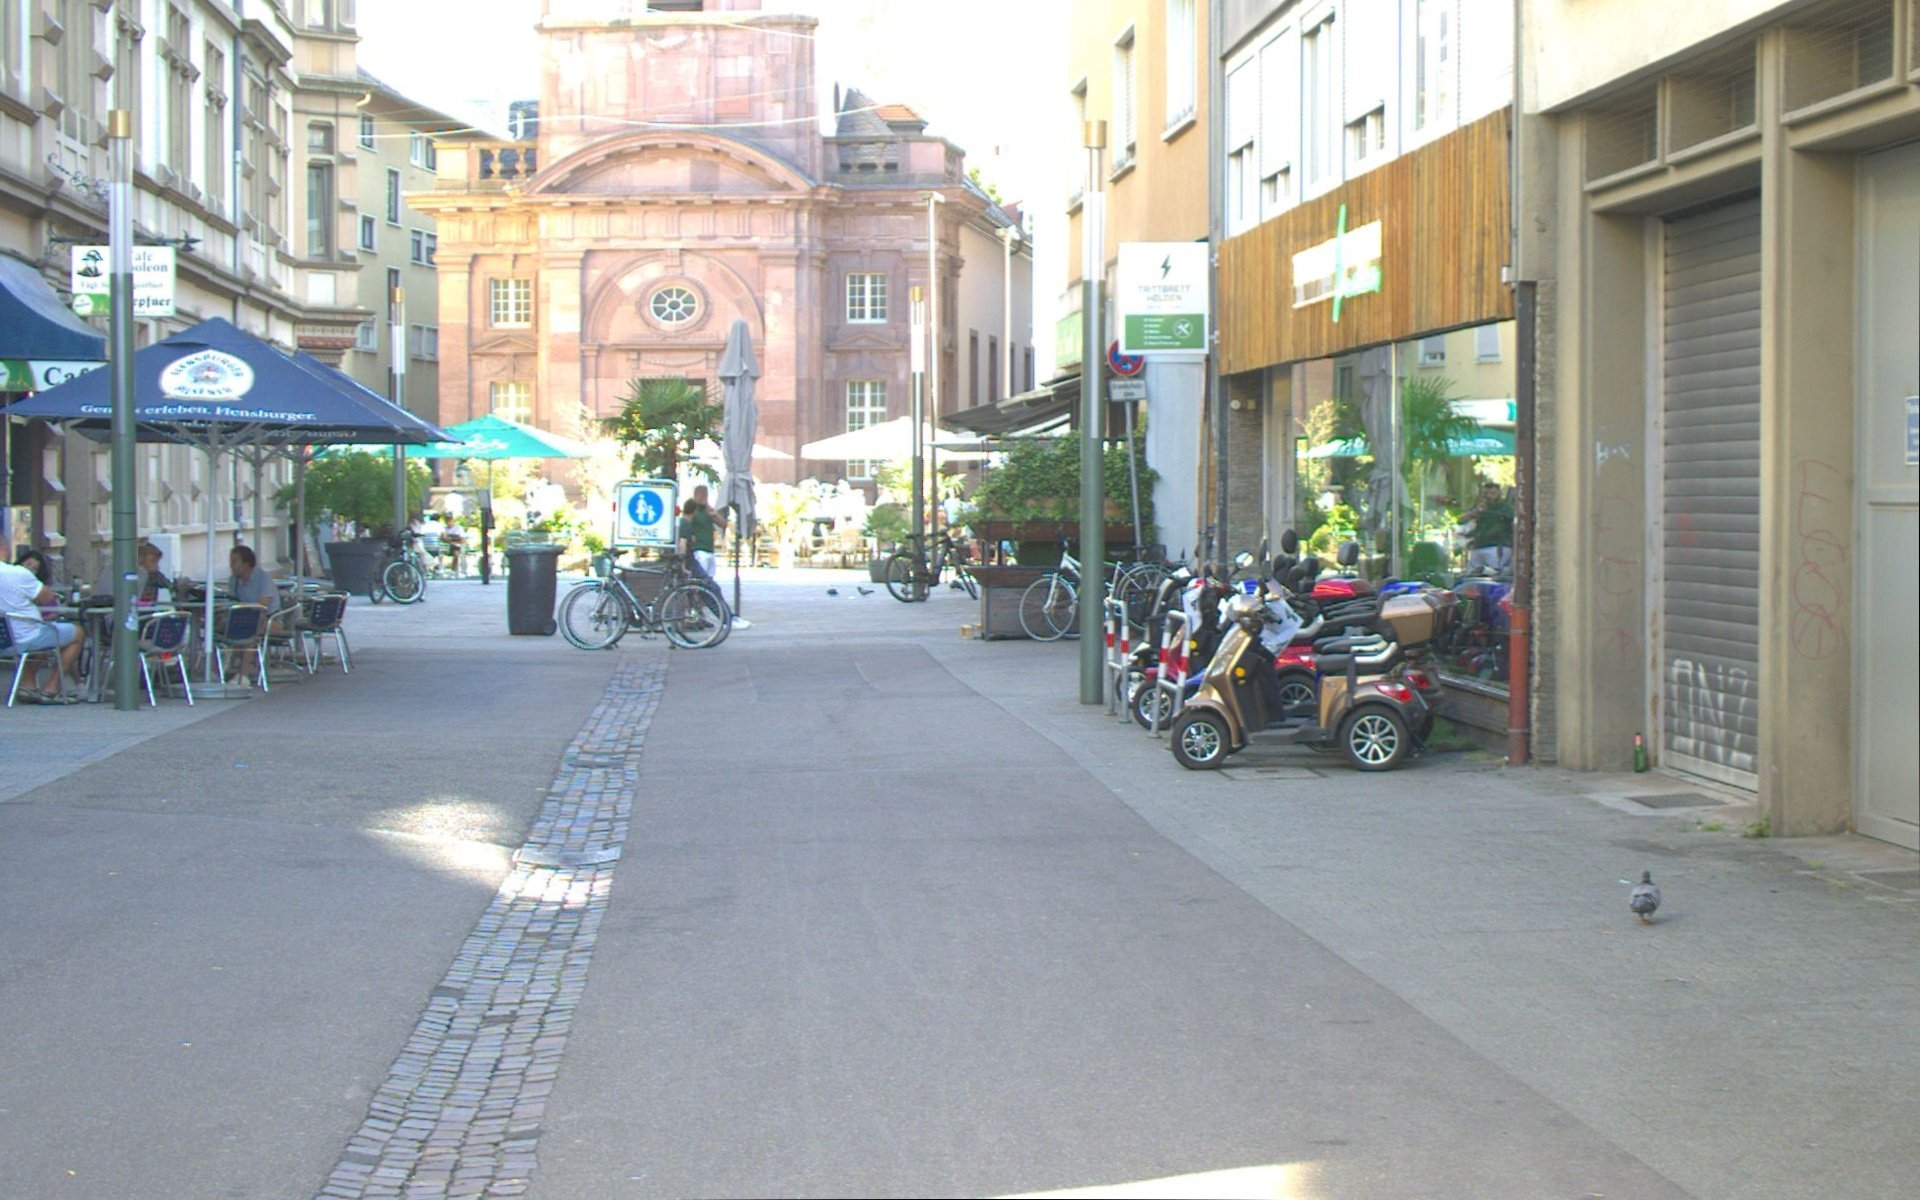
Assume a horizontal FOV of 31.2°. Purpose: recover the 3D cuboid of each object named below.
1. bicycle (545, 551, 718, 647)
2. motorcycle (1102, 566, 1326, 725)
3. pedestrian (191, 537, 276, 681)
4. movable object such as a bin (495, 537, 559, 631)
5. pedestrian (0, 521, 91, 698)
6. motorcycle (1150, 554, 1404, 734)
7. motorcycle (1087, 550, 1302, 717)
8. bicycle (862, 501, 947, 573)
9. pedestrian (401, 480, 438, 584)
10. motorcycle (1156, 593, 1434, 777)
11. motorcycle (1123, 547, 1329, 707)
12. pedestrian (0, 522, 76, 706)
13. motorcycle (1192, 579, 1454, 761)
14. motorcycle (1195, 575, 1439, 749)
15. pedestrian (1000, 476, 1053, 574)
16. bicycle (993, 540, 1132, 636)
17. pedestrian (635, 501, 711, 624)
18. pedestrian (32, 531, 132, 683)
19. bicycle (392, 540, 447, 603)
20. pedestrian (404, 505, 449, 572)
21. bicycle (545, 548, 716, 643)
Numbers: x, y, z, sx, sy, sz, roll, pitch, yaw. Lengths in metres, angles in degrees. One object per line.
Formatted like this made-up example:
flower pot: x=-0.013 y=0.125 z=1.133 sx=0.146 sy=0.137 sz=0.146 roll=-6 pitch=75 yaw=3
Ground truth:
bicycle: x=-3.501 y=-0.015 z=36.647 sx=1.823 sy=1.001 sz=0.381 roll=0 pitch=2 yaw=-7
motorcycle: x=1.746 y=0.309 z=23.657 sx=1.484 sy=1.072 sz=0.412 roll=0 pitch=1 yaw=14
pedestrian: x=-6.219 y=0.069 z=29.437 sx=0.692 sy=1.211 sz=0.583 roll=0 pitch=2 yaw=-12
movable object such as a bin: x=-5.003 y=-0.192 z=39.773 sx=0.721 sy=1.071 sz=0.374 roll=0 pitch=2 yaw=-5
pedestrian: x=-7.192 y=0.063 z=26.934 sx=0.717 sy=1.363 sz=0.710 roll=0 pitch=2 yaw=-16
motorcycle: x=2.114 y=0.284 z=22.927 sx=1.625 sy=1.171 sz=0.480 roll=0 pitch=1 yaw=14
motorcycle: x=1.676 y=0.236 z=24.548 sx=1.484 sy=1.177 sz=0.412 roll=0 pitch=1 yaw=11
bicycle: x=-1.002 y=-1.153 z=62.600 sx=1.586 sy=1.303 sz=0.366 roll=-1 pitch=2 yaw=-33
pedestrian: x=-9.417 y=-1.190 z=59.895 sx=0.615 sy=1.802 sz=0.615 roll=0 pitch=2 yaw=-8
motorcycle: x=1.944 y=0.483 z=19.943 sx=1.565 sy=1.038 sz=0.372 roll=0 pitch=1 yaw=14
motorcycle: x=1.985 y=0.197 z=25.640 sx=1.484 sy=1.177 sz=0.412 roll=0 pitch=1 yaw=11
pedestrian: x=-7.074 y=0.098 z=26.022 sx=0.707 sy=1.363 sz=0.720 roll=0 pitch=2 yaw=-16
motorcycle: x=2.189 y=0.415 z=20.722 sx=1.517 sy=1.072 sz=0.412 roll=0 pitch=1 yaw=14
motorcycle: x=2.252 y=0.382 z=21.684 sx=1.484 sy=1.072 sz=0.412 roll=0 pitch=1 yaw=14
pedestrian: x=1.114 y=-1.271 z=57.881 sx=0.657 sy=1.635 sz=0.611 roll=1 pitch=2 yaw=36
bicycle: x=1.092 y=-0.131 z=36.427 sx=1.463 sy=1.001 sz=0.573 roll=0 pitch=2 yaw=3
pedestrian: x=-3.428 y=-0.455 z=41.127 sx=0.883 sy=1.459 sz=0.731 roll=0 pitch=2 yaw=-3
pedestrian: x=-7.309 y=0.049 z=28.653 sx=0.764 sy=1.229 sz=0.831 roll=0 pitch=2 yaw=-12
bicycle: x=-7.649 y=-0.419 z=48.681 sx=0.456 sy=0.847 sz=2.147 roll=0 pitch=2 yaw=-1
pedestrian: x=-9.728 y=-1.130 z=62.708 sx=0.700 sy=1.213 sz=0.719 roll=0 pitch=2 yaw=2
bicycle: x=-3.547 y=-0.053 z=37.035 sx=1.823 sy=1.001 sz=0.381 roll=0 pitch=2 yaw=-7
